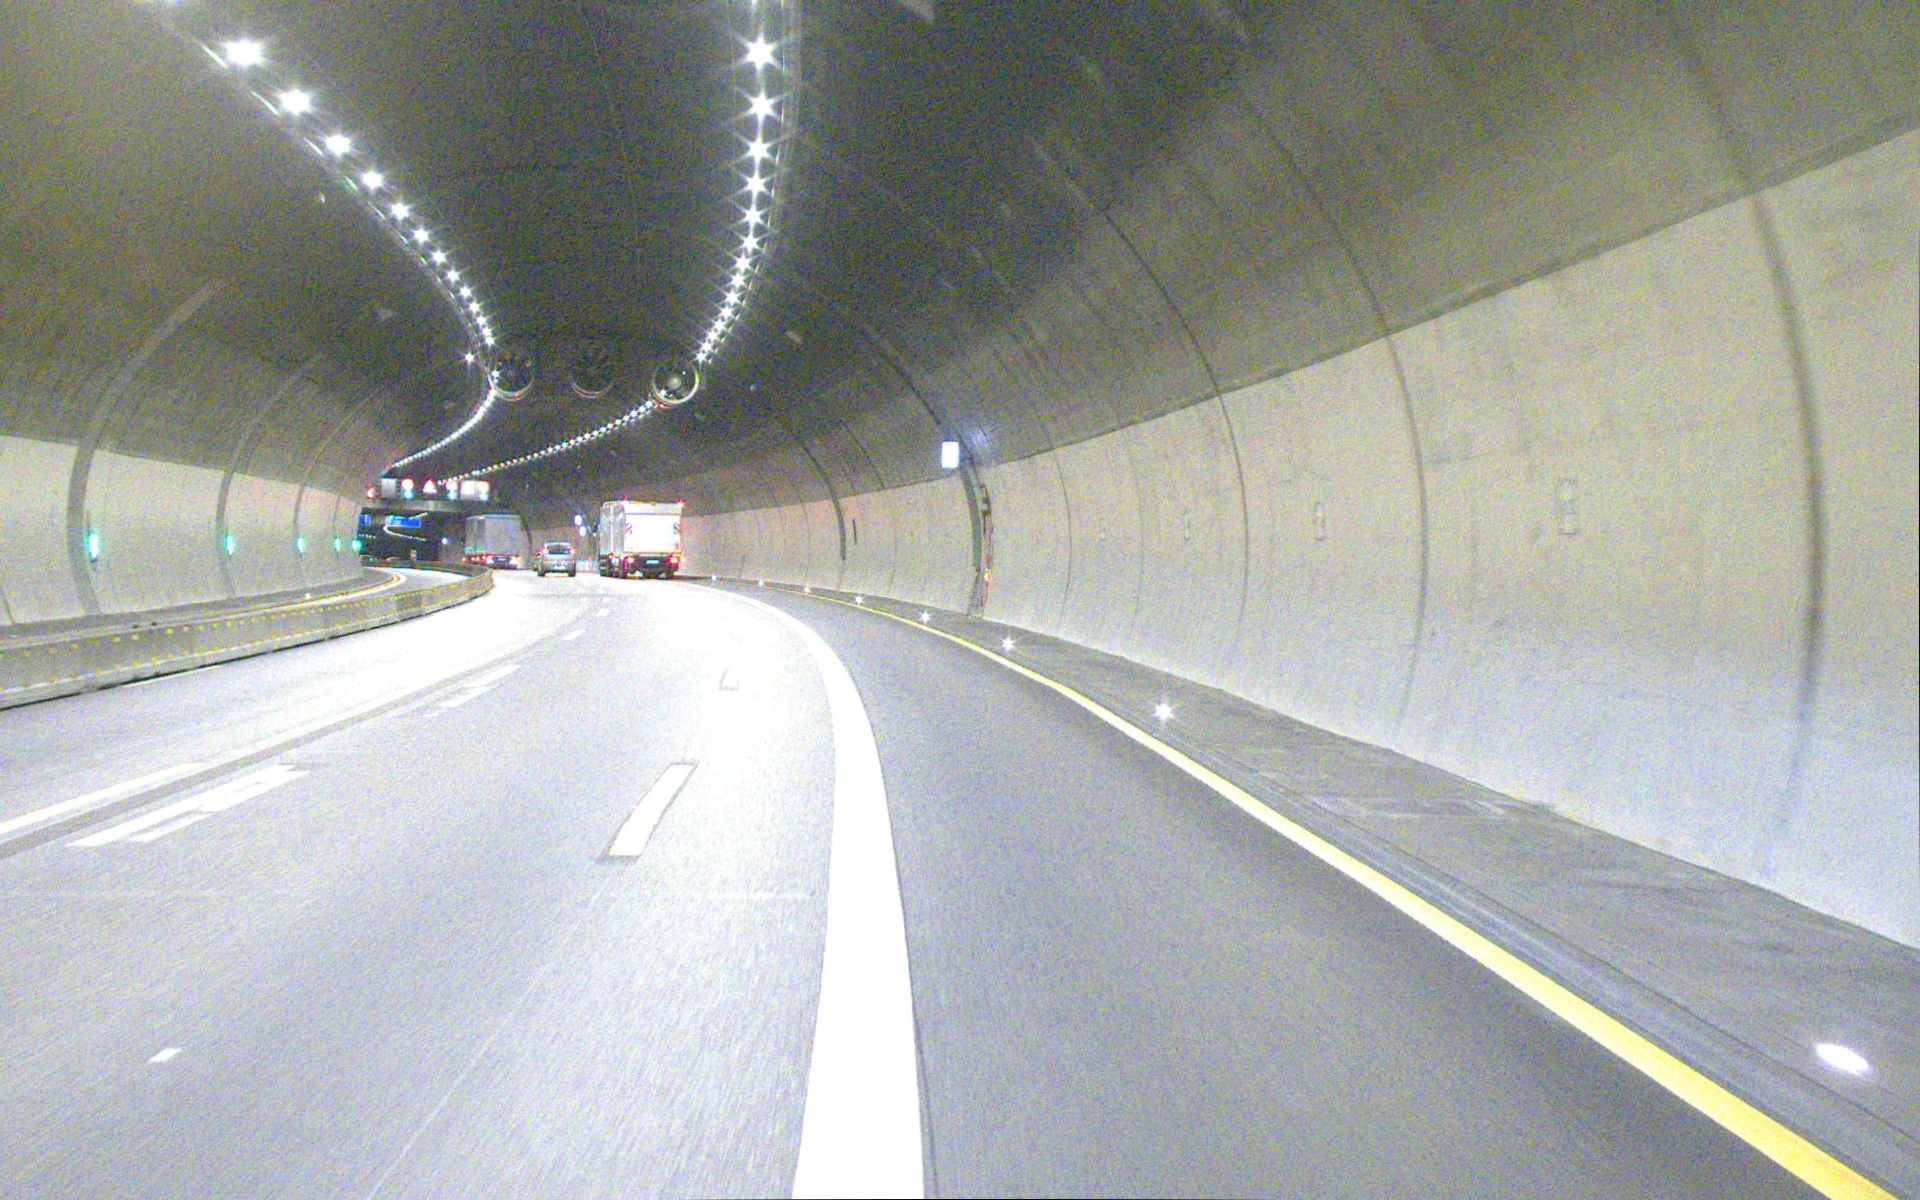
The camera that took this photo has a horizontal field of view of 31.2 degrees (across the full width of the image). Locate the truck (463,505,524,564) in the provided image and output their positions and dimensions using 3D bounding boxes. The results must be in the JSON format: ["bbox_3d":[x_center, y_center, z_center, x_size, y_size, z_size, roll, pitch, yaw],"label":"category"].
[{"bbox_3d":[-34.567,-4.842,254.563,3.473,4.301,10.955,-1,1,-13],"label":"truck"}]

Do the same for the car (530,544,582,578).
[{"bbox_3d":[-19.302,-1.885,164.188,1.993,1.576,4.001,1,1,-14],"label":"car"}]

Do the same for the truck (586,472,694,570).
[{"bbox_3d":[-14.635,-3.572,156.537,3.473,4.301,10.955,0,1,-13],"label":"truck"}]
